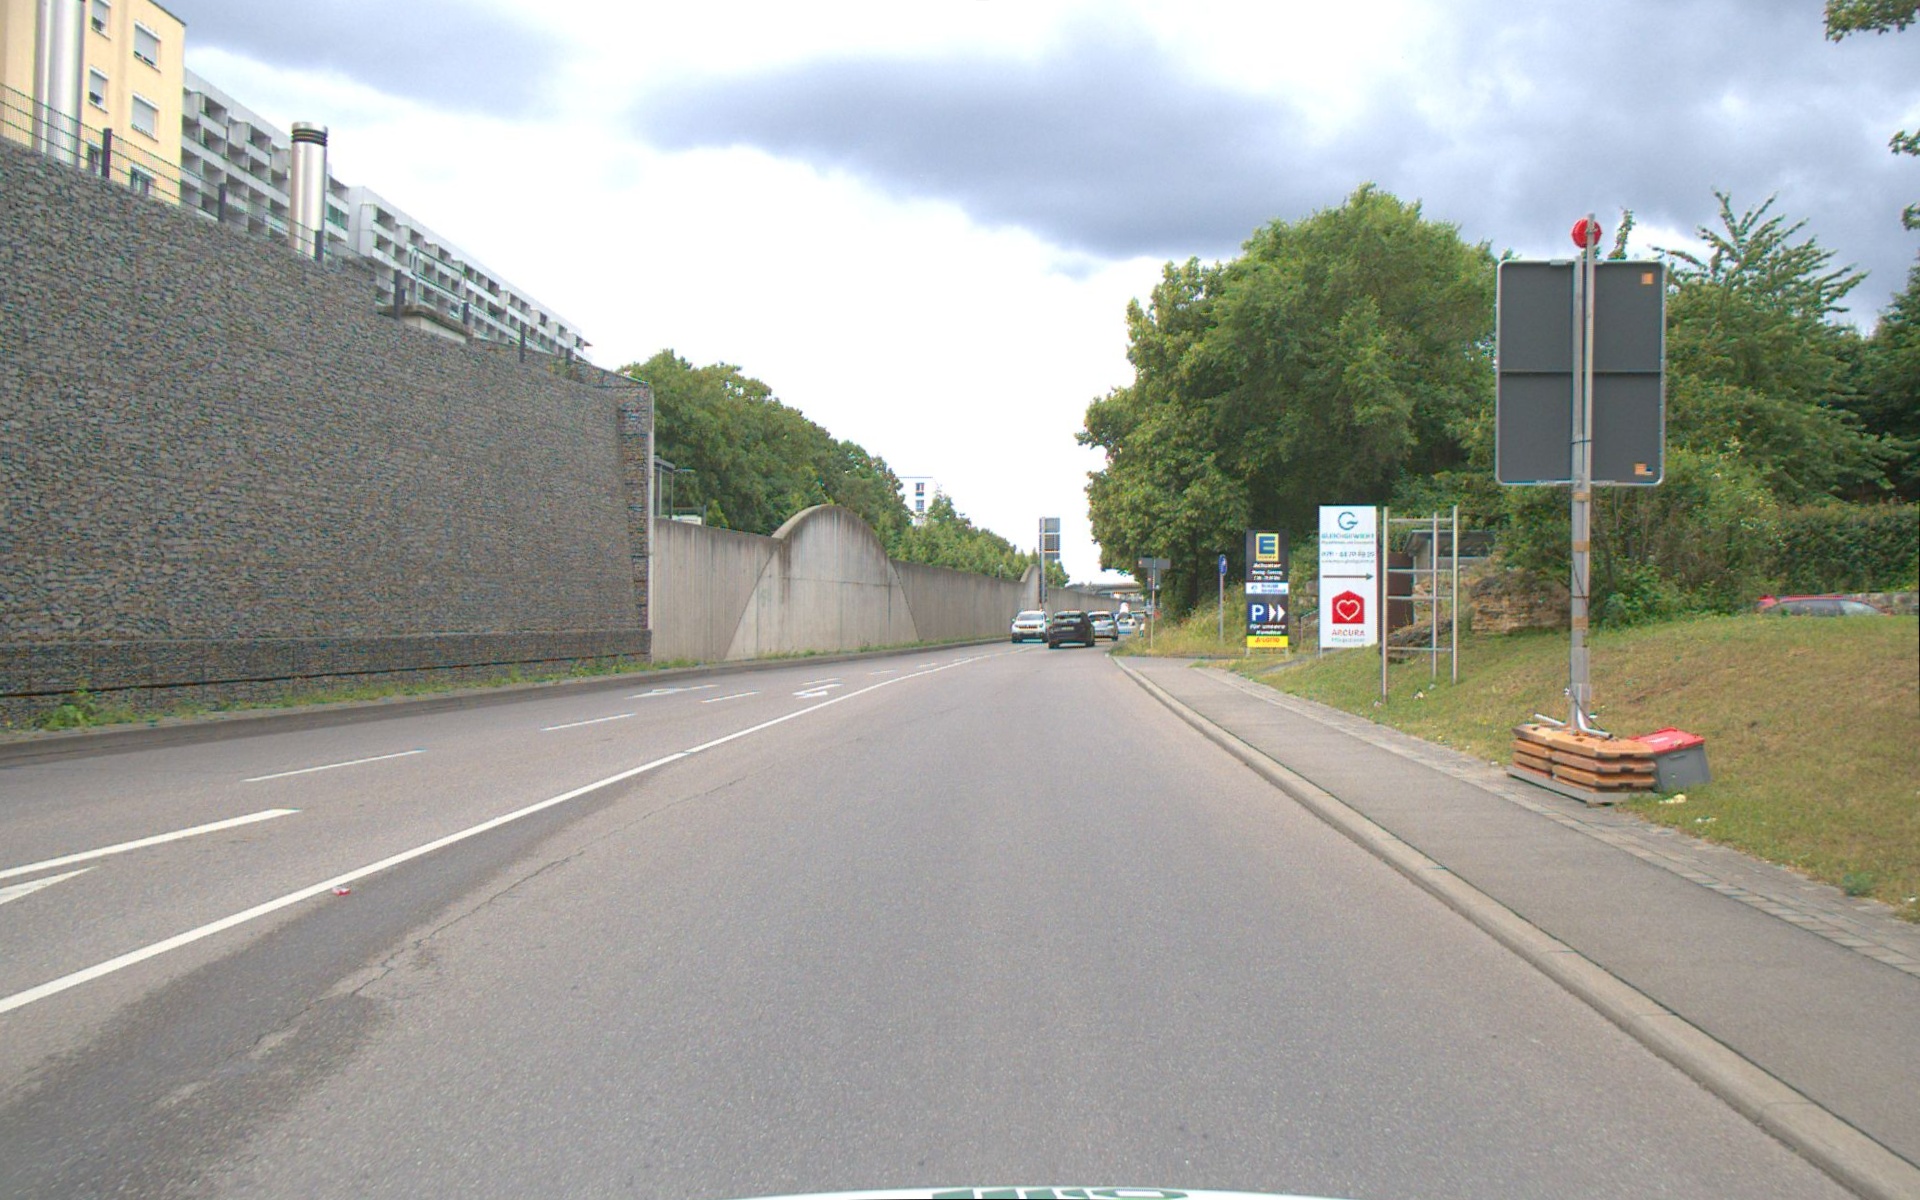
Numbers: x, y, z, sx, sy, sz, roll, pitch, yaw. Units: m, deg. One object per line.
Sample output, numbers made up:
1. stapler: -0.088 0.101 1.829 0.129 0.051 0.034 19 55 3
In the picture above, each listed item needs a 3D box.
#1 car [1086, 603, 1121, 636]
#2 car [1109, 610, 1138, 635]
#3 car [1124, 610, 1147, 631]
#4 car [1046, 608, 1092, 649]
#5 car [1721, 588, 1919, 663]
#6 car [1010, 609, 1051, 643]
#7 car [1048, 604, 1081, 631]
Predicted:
1. car: 7.337 1.031 84.382 1.717 1.550 4.038 2 -2 5
2. car: 10.915 1.500 110.210 1.827 1.516 4.260 2 -1 7
3. car: 14.060 1.663 132.370 1.717 1.560 4.257 2 -2 7
4. car: 4.542 1.204 68.443 1.717 1.550 4.038 2 -2 6
5. car: 18.465 0.530 34.802 4.150 1.475 1.761 1 0 10
6. car: 3.636 1.319 85.056 1.822 1.660 4.211 -1 -1 6
7. car: 6.789 1.131 107.099 1.850 1.660 4.429 -1 -1 8
